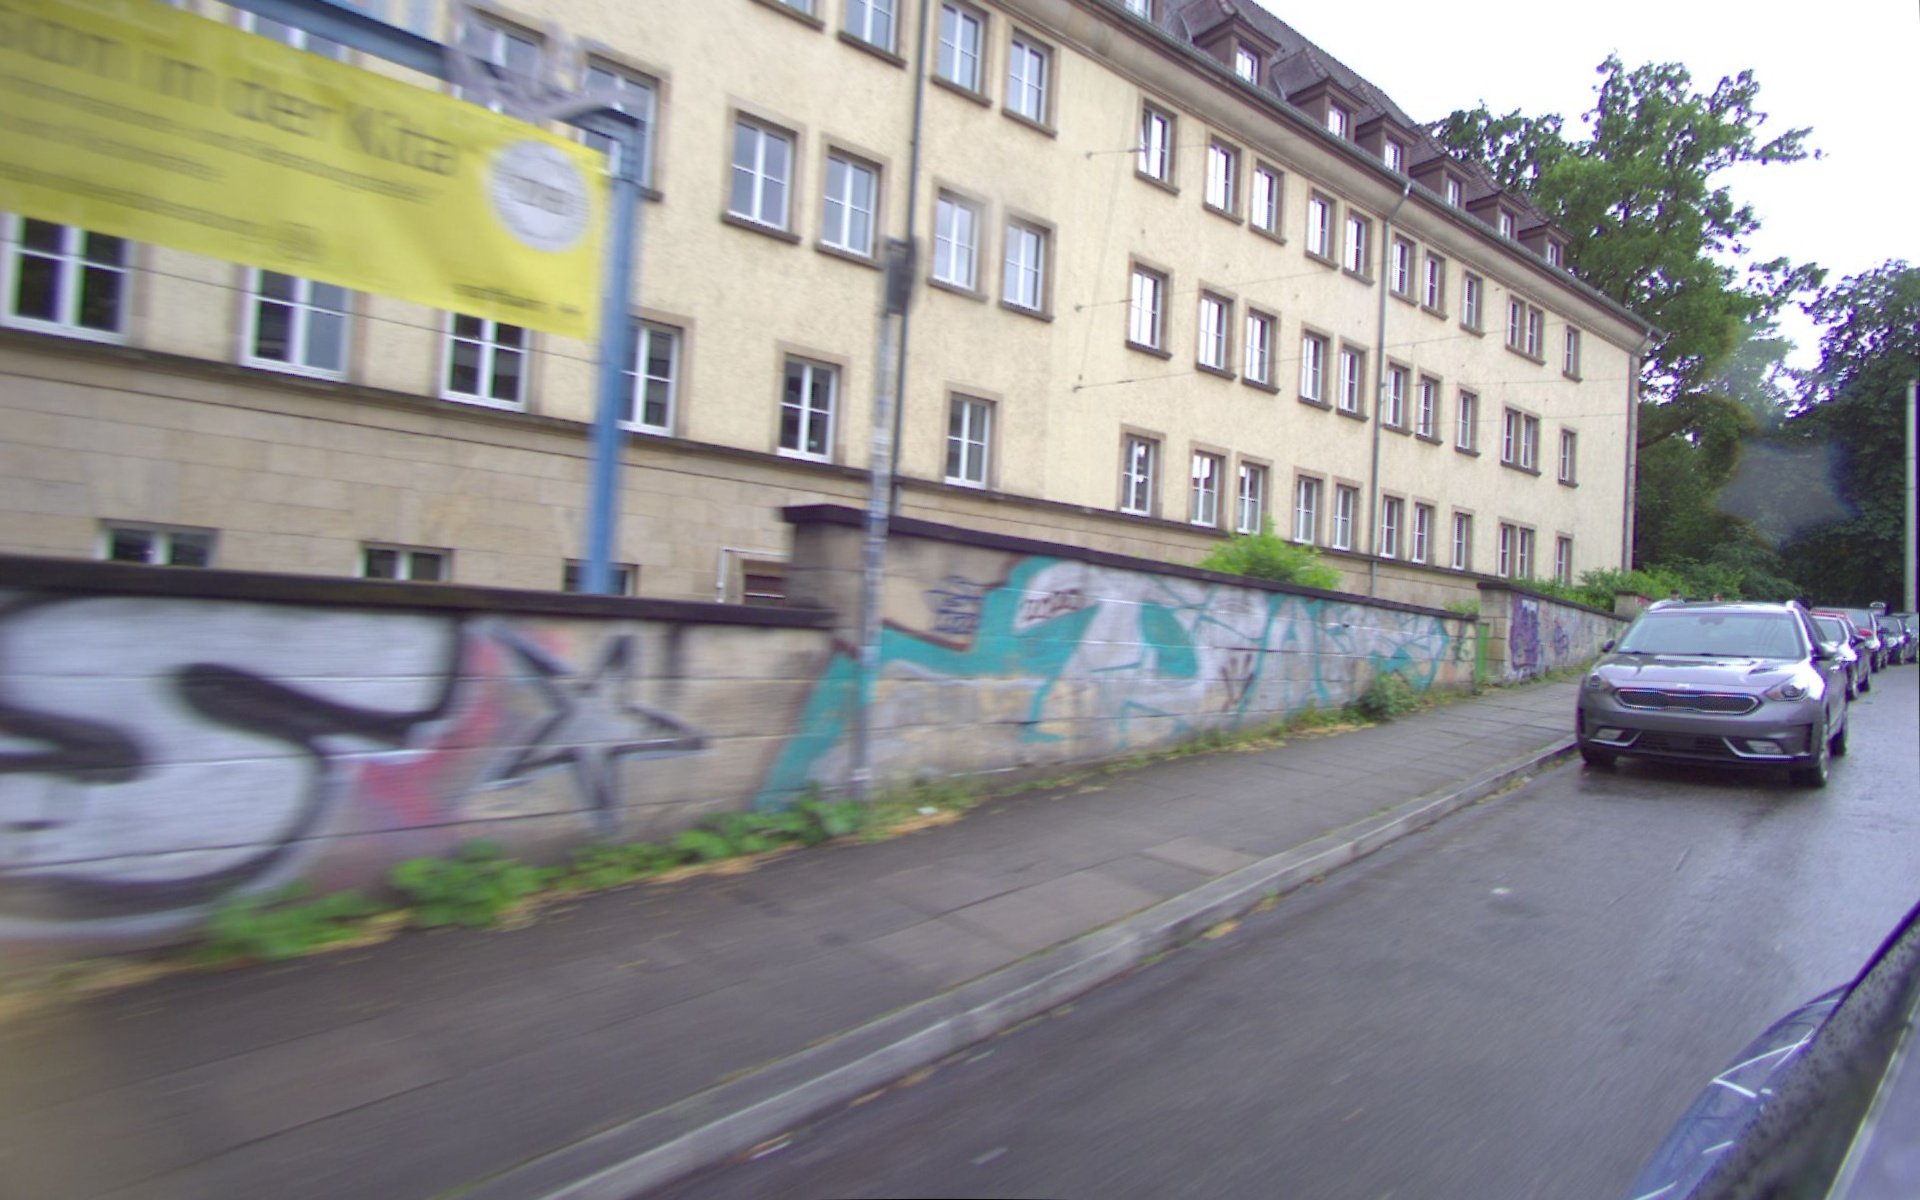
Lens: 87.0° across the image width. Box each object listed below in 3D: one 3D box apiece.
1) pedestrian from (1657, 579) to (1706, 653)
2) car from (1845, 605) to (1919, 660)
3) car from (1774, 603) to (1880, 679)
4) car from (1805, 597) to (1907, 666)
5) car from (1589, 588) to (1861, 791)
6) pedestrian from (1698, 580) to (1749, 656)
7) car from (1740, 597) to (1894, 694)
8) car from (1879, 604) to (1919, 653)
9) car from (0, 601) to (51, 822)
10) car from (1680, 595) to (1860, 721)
[{"bbox_3d":[17.894,0.381,25.107,0.725,1.776,0.720,1,1,-35],"label":"pedestrian"},{"bbox_3d":[27.596,0.933,29.889,3.577,1.434,1.540,1,2,-39],"label":"car"},{"bbox_3d":[19.338,0.842,22.543,1.664,1.495,4.004,1,0,42],"label":"car"},{"bbox_3d":[23.251,0.764,26.228,3.792,1.592,1.667,1,2,-45],"label":"car"},{"bbox_3d":[7.552,0.695,9.833,1.665,1.543,4.044,1,0,44],"label":"car"},{"bbox_3d":[18.402,0.419,24.392,0.725,1.776,0.720,1,1,-35],"label":"pedestrian"},{"bbox_3d":[15.662,0.749,18.419,4.383,1.494,1.667,1,2,-44],"label":"car"},{"bbox_3d":[30.884,0.930,32.042,2.664,1.483,1.607,2,2,-23],"label":"car"},{"bbox_3d":[-9.055,0.949,8.393,1.761,1.816,4.137,1,0,-35],"label":"car"},{"bbox_3d":[11.823,0.733,14.669,1.666,1.494,4.044,4,2,43],"label":"car"}]
